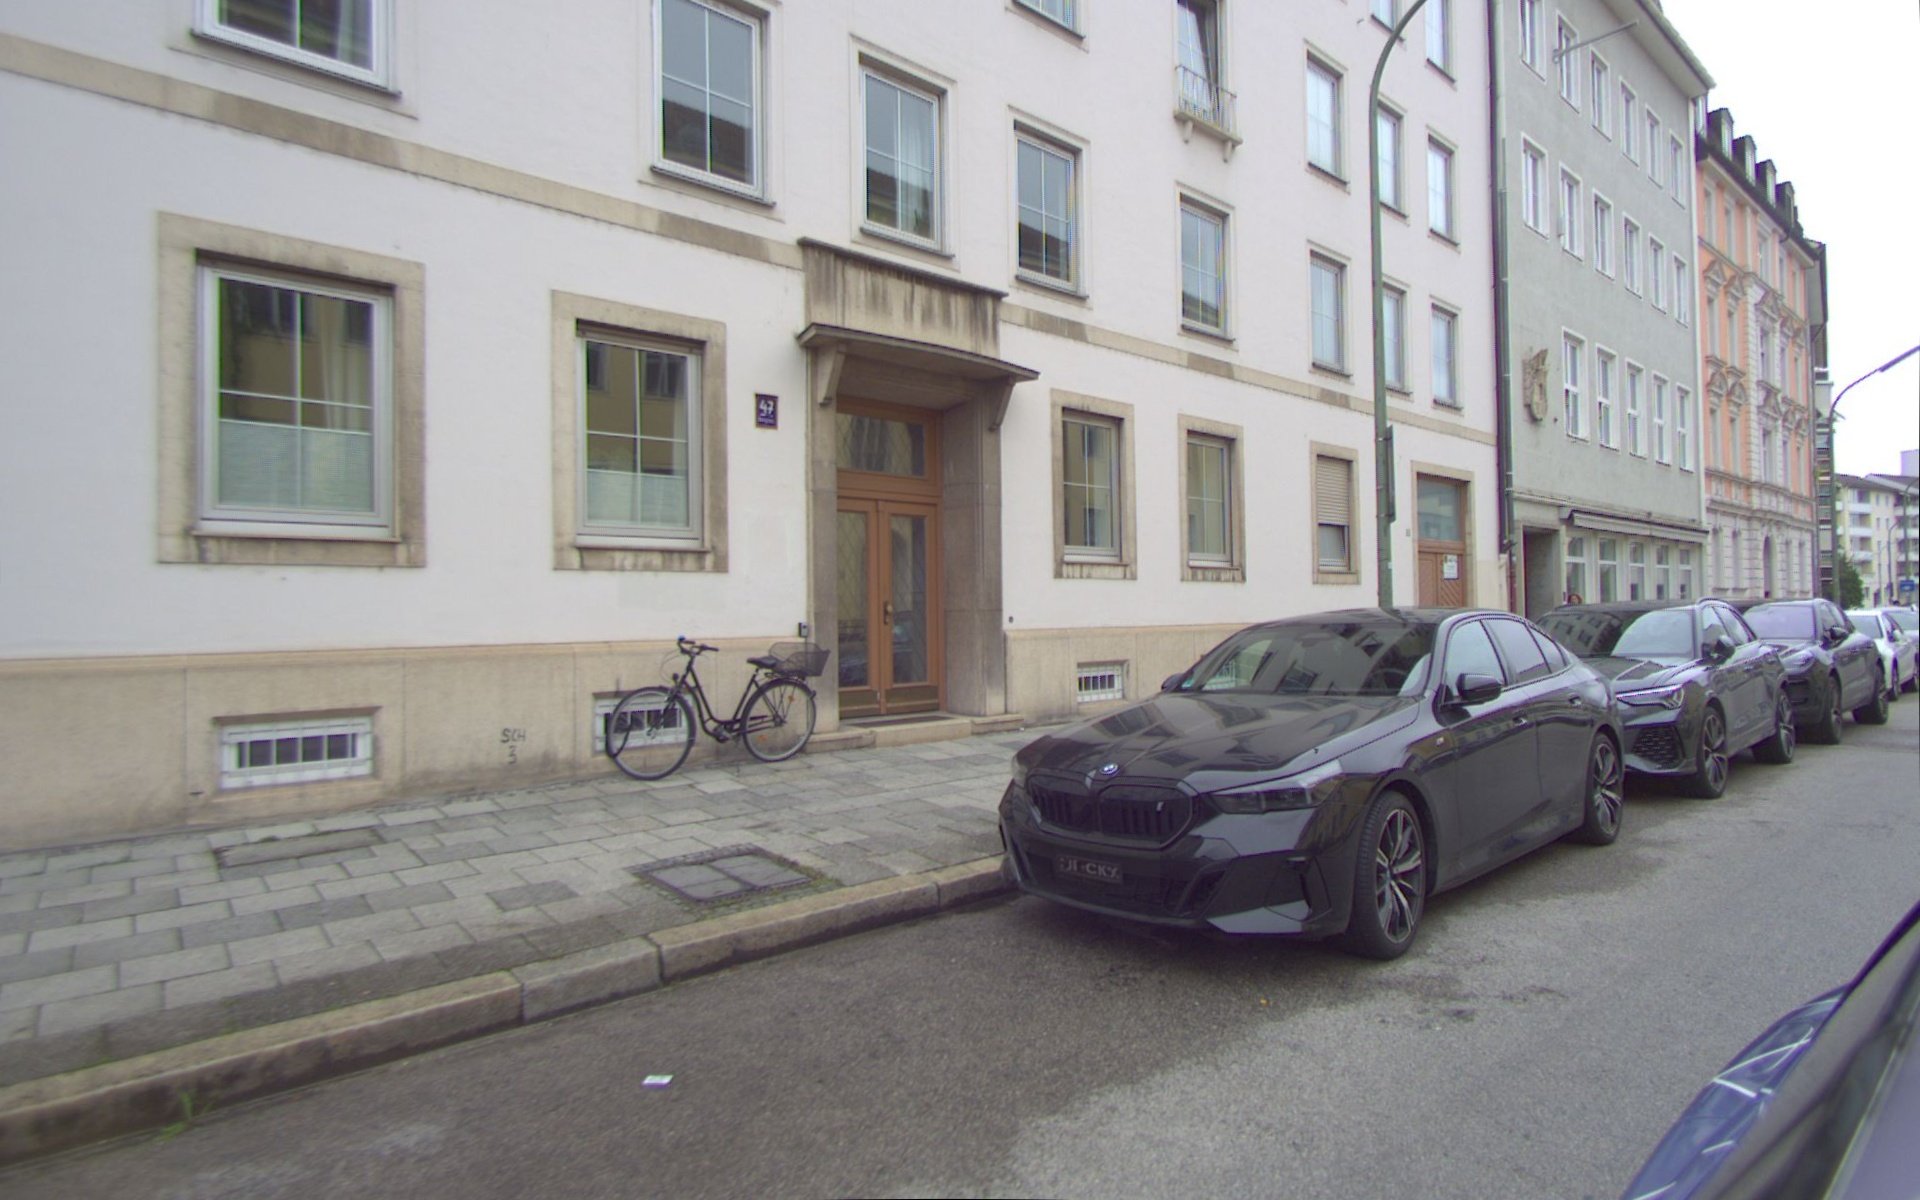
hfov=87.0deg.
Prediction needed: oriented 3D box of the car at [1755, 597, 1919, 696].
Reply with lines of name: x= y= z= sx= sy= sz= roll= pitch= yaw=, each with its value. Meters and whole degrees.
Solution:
car: x=15.087 y=0.732 z=17.160 sx=4.011 sy=1.483 sz=1.694 roll=0 pitch=-3 yaw=-40

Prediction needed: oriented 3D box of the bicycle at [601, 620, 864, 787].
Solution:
bicycle: x=-1.774 y=0.758 z=8.115 sx=1.993 sy=1.140 sz=0.660 roll=0 pitch=0 yaw=-41

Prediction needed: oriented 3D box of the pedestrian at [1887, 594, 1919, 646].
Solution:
pedestrian: x=31.563 y=0.666 z=33.748 sx=0.636 sy=1.683 sz=0.862 roll=1 pitch=-2 yaw=-41

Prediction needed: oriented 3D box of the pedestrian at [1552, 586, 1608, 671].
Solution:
pedestrian: x=12.353 y=0.546 z=20.156 sx=0.813 sy=1.646 sz=0.735 roll=0 pitch=0 yaw=-40

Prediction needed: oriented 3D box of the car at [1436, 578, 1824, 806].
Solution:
car: x=6.206 y=0.685 z=9.190 sx=4.196 sy=1.605 sz=1.781 roll=0 pitch=-3 yaw=-40

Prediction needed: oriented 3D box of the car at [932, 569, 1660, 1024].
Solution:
car: x=2.243 y=0.708 z=5.805 sx=4.734 sy=1.564 sz=1.857 roll=0 pitch=-3 yaw=-43

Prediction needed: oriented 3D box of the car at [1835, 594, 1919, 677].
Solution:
car: x=19.880 y=0.713 z=21.341 sx=4.014 sy=1.604 sz=1.693 roll=0 pitch=-3 yaw=-43

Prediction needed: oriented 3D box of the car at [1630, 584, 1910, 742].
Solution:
car: x=10.010 y=0.680 z=12.398 sx=4.252 sy=1.605 sz=1.782 roll=0 pitch=-3 yaw=-39

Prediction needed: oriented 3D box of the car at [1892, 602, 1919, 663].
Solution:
car: x=24.774 y=0.748 z=25.186 sx=4.010 sy=1.470 sz=1.695 roll=0 pitch=-3 yaw=-39

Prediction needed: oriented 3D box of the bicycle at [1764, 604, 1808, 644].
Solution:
bicycle: x=26.234 y=0.766 z=32.126 sx=2.057 sy=1.198 sz=0.652 roll=2 pitch=-1 yaw=-39
